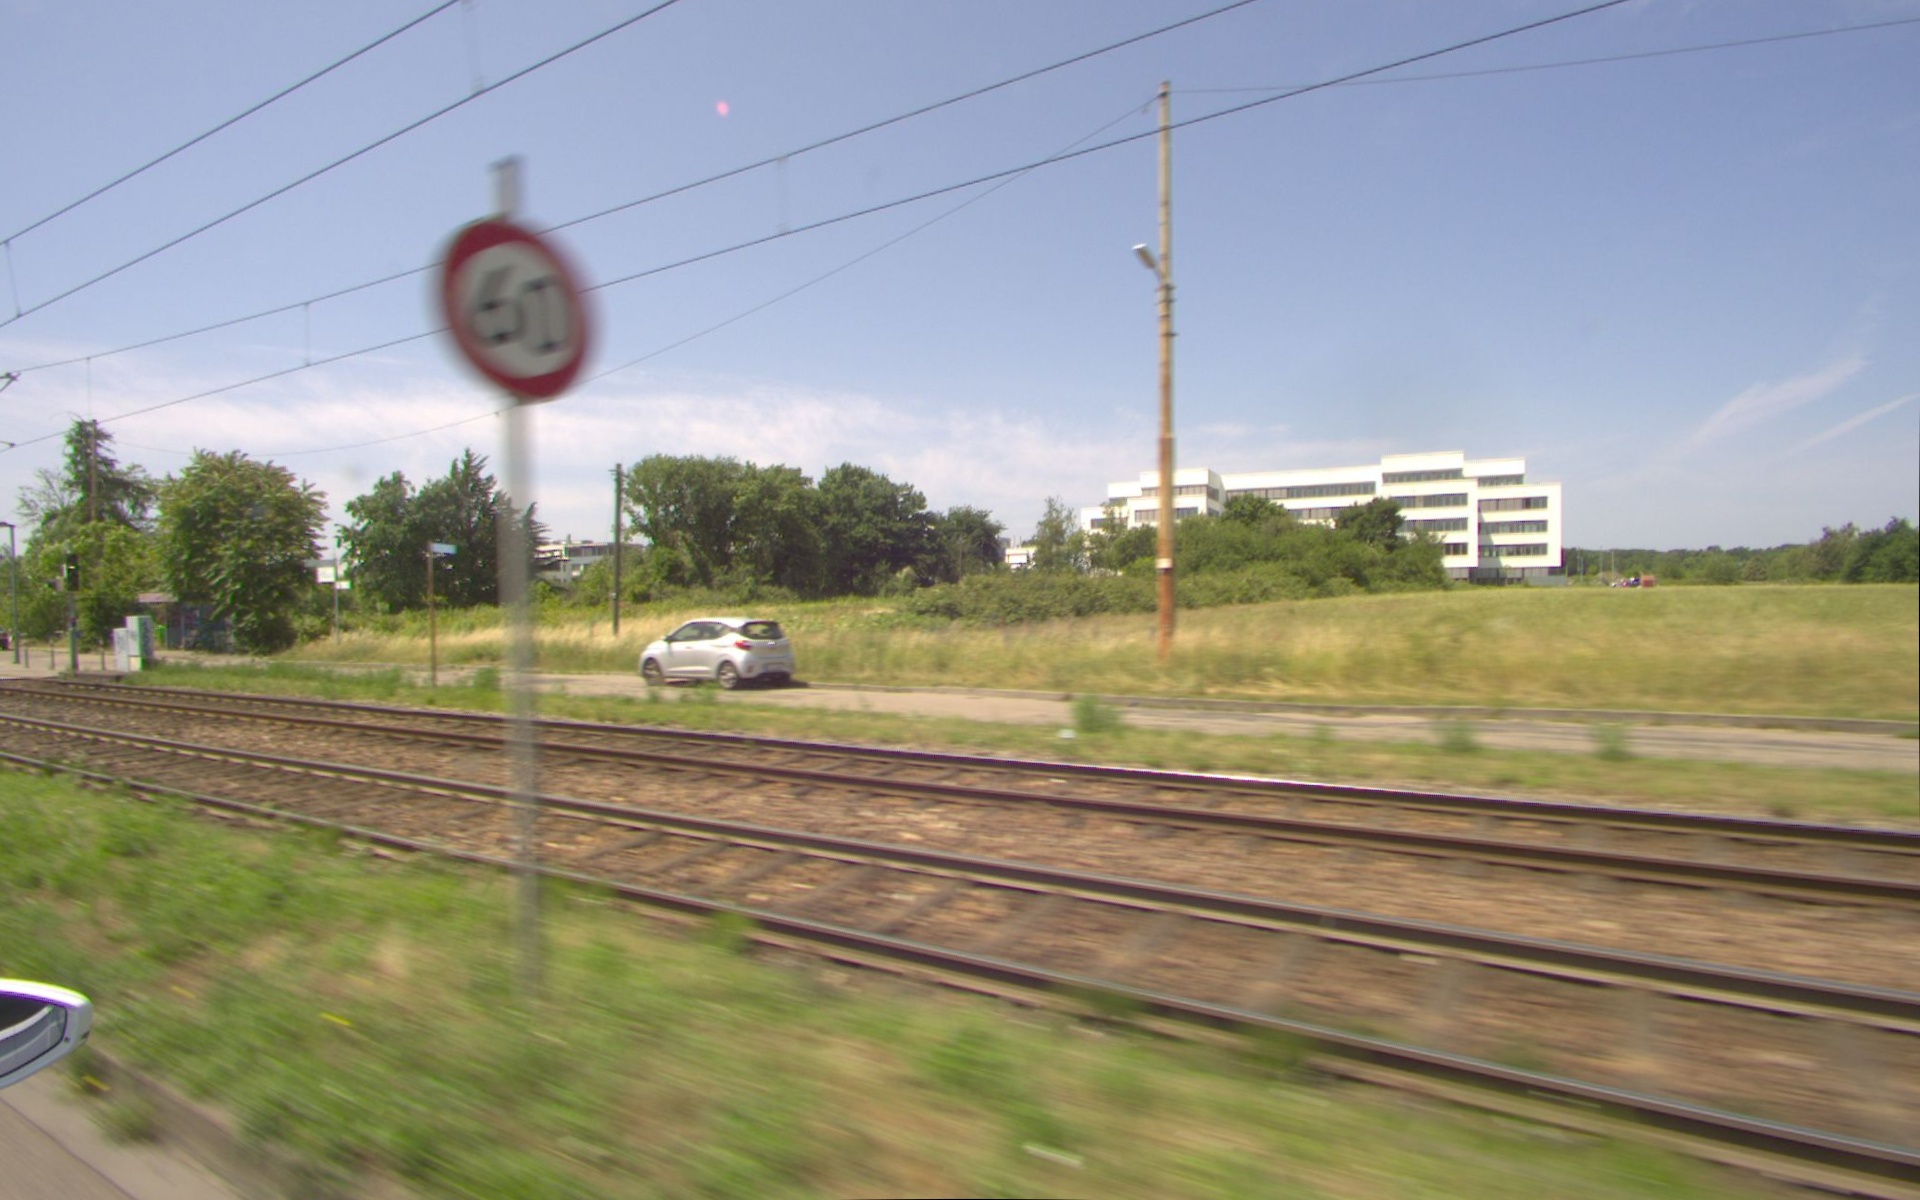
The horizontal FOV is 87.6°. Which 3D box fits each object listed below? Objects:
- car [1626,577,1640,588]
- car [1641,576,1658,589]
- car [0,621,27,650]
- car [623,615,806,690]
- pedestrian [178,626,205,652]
[{"bbox_3d":[120.580,-3.085,179.394,1.737,1.842,4.201,-1,-1,28],"label":"car"},{"bbox_3d":[112.682,-2.887,163.683,1.837,1.941,4.666,-1,-1,29],"label":"car"},{"bbox_3d":[-50.572,1.844,52.306,3.946,1.440,1.934,-1,-1,35],"label":"car"},{"bbox_3d":[-5.424,1.093,21.991,3.945,1.508,1.709,-1,-1,34],"label":"car"},{"bbox_3d":[-33.296,1.690,43.372,0.711,1.101,0.804,0,0,42],"label":"pedestrian"}]
